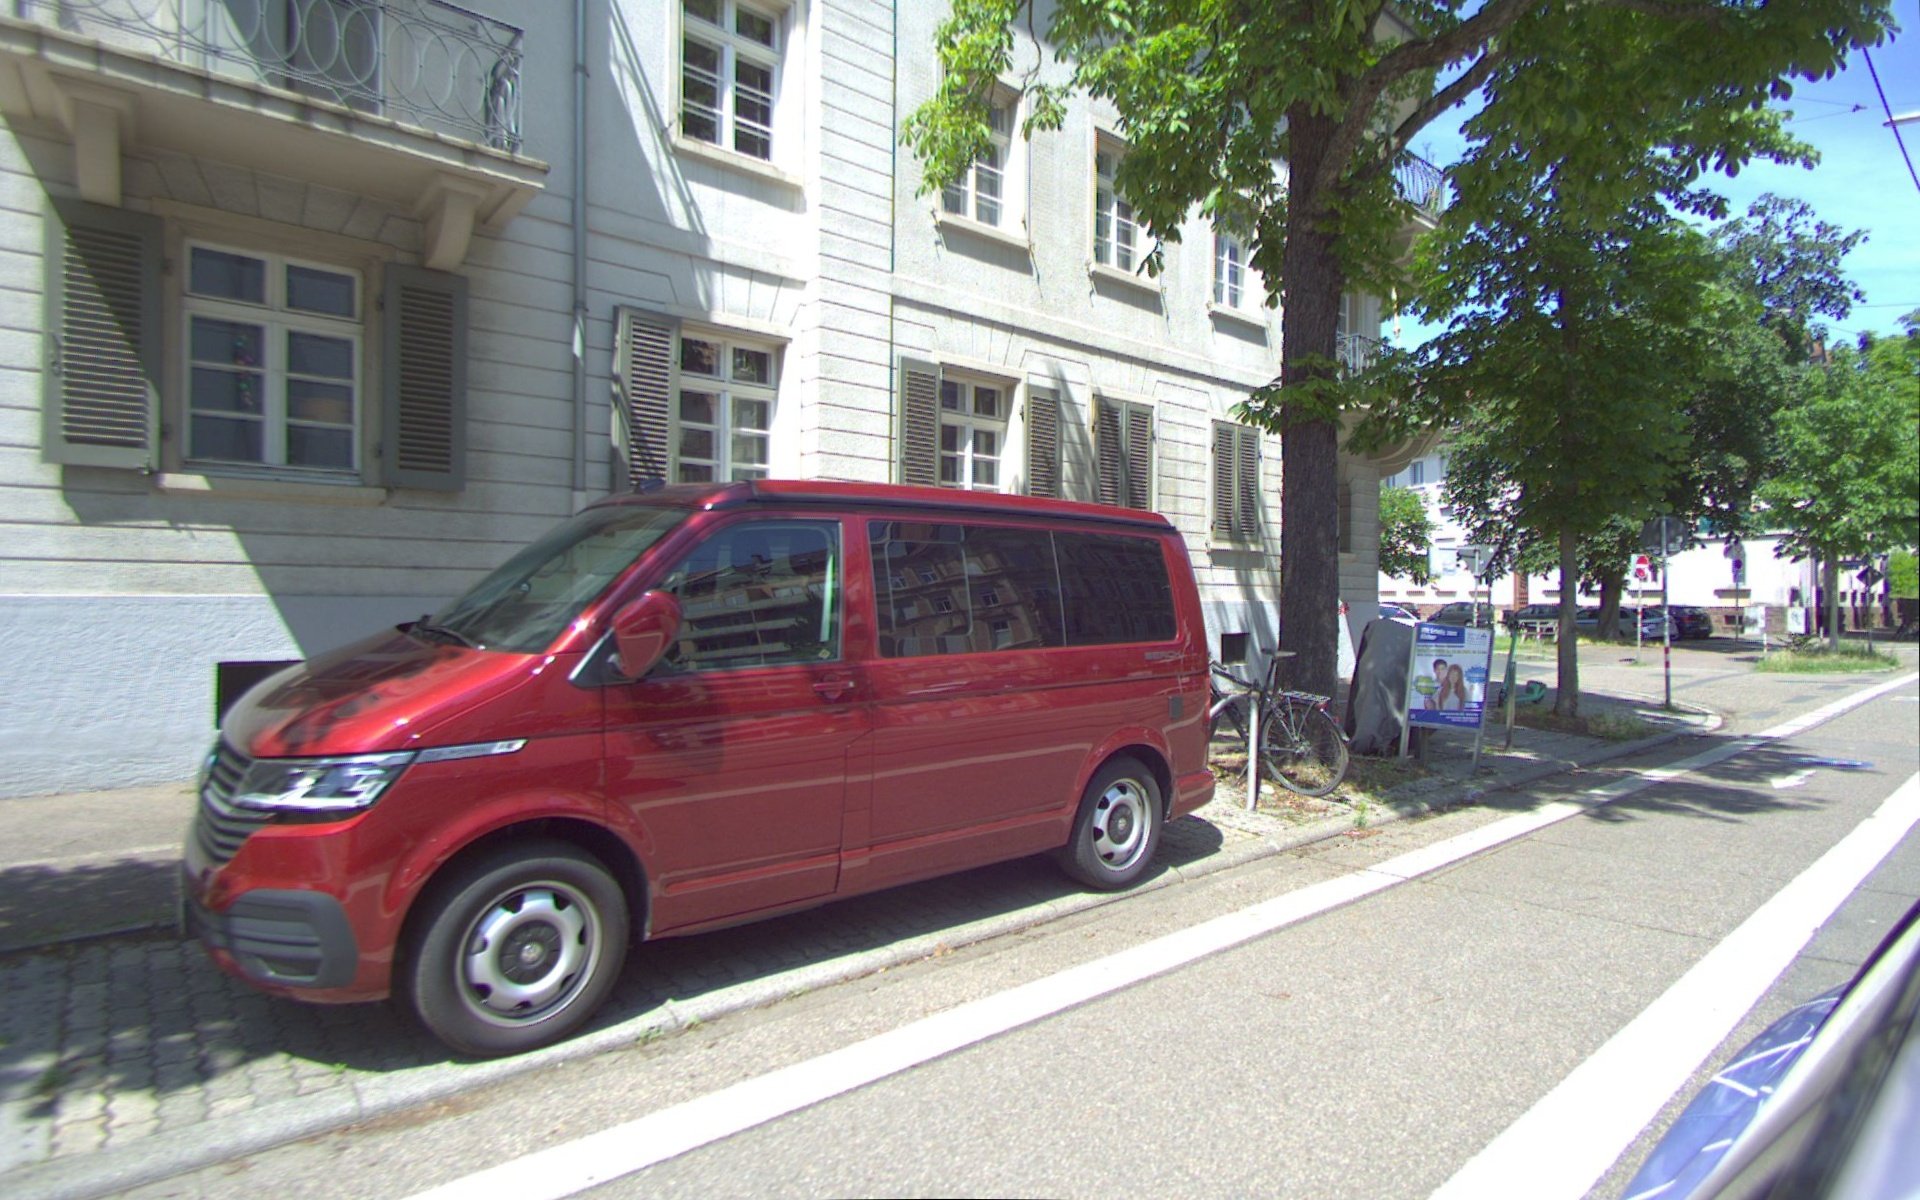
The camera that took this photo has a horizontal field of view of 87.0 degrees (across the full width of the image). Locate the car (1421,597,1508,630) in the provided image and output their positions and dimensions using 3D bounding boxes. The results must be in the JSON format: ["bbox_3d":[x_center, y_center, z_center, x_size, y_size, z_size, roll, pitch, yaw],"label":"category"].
[{"bbox_3d":[25.843,0.671,52.025,1.830,1.599,4.008,-1,0,-13],"label":"car"}]

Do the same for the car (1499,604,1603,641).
[{"bbox_3d":[27.091,0.993,46.540,1.783,1.521,4.008,-3,1,-13],"label":"car"}]

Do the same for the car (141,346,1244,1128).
[{"bbox_3d":[-0.824,0.398,4.952,4.887,2.040,1.863,1,-2,-40],"label":"car"}]

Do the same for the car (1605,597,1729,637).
[{"bbox_3d":[28.531,0.651,40.981,1.611,1.465,3.891,-2,1,-18],"label":"car"}]

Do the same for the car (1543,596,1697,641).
[{"bbox_3d":[23.964,0.698,36.993,1.837,1.535,4.683,0,-1,-13],"label":"car"}]

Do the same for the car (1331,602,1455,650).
[{"bbox_3d":[13.984,0.795,32.954,1.815,1.438,4.007,0,0,-10],"label":"car"}]

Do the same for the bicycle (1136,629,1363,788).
[{"bbox_3d":[2.152,0.770,7.697,1.696,1.034,0.359,1,1,44],"label":"bicycle"}]

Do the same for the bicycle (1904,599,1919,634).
[{"bbox_3d":[35.373,0.596,37.429,0.281,1.215,1.611,-2,0,29],"label":"bicycle"}]

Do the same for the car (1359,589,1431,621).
[{"bbox_3d":[24.600,0.268,57.400,1.618,1.751,4.008,-1,0,-13],"label":"car"}]

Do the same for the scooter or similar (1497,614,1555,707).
[{"bbox_3d":[7.570,0.785,13.510,1.231,1.176,0.296,0,0,-42],"label":"scooter or similar"}]
